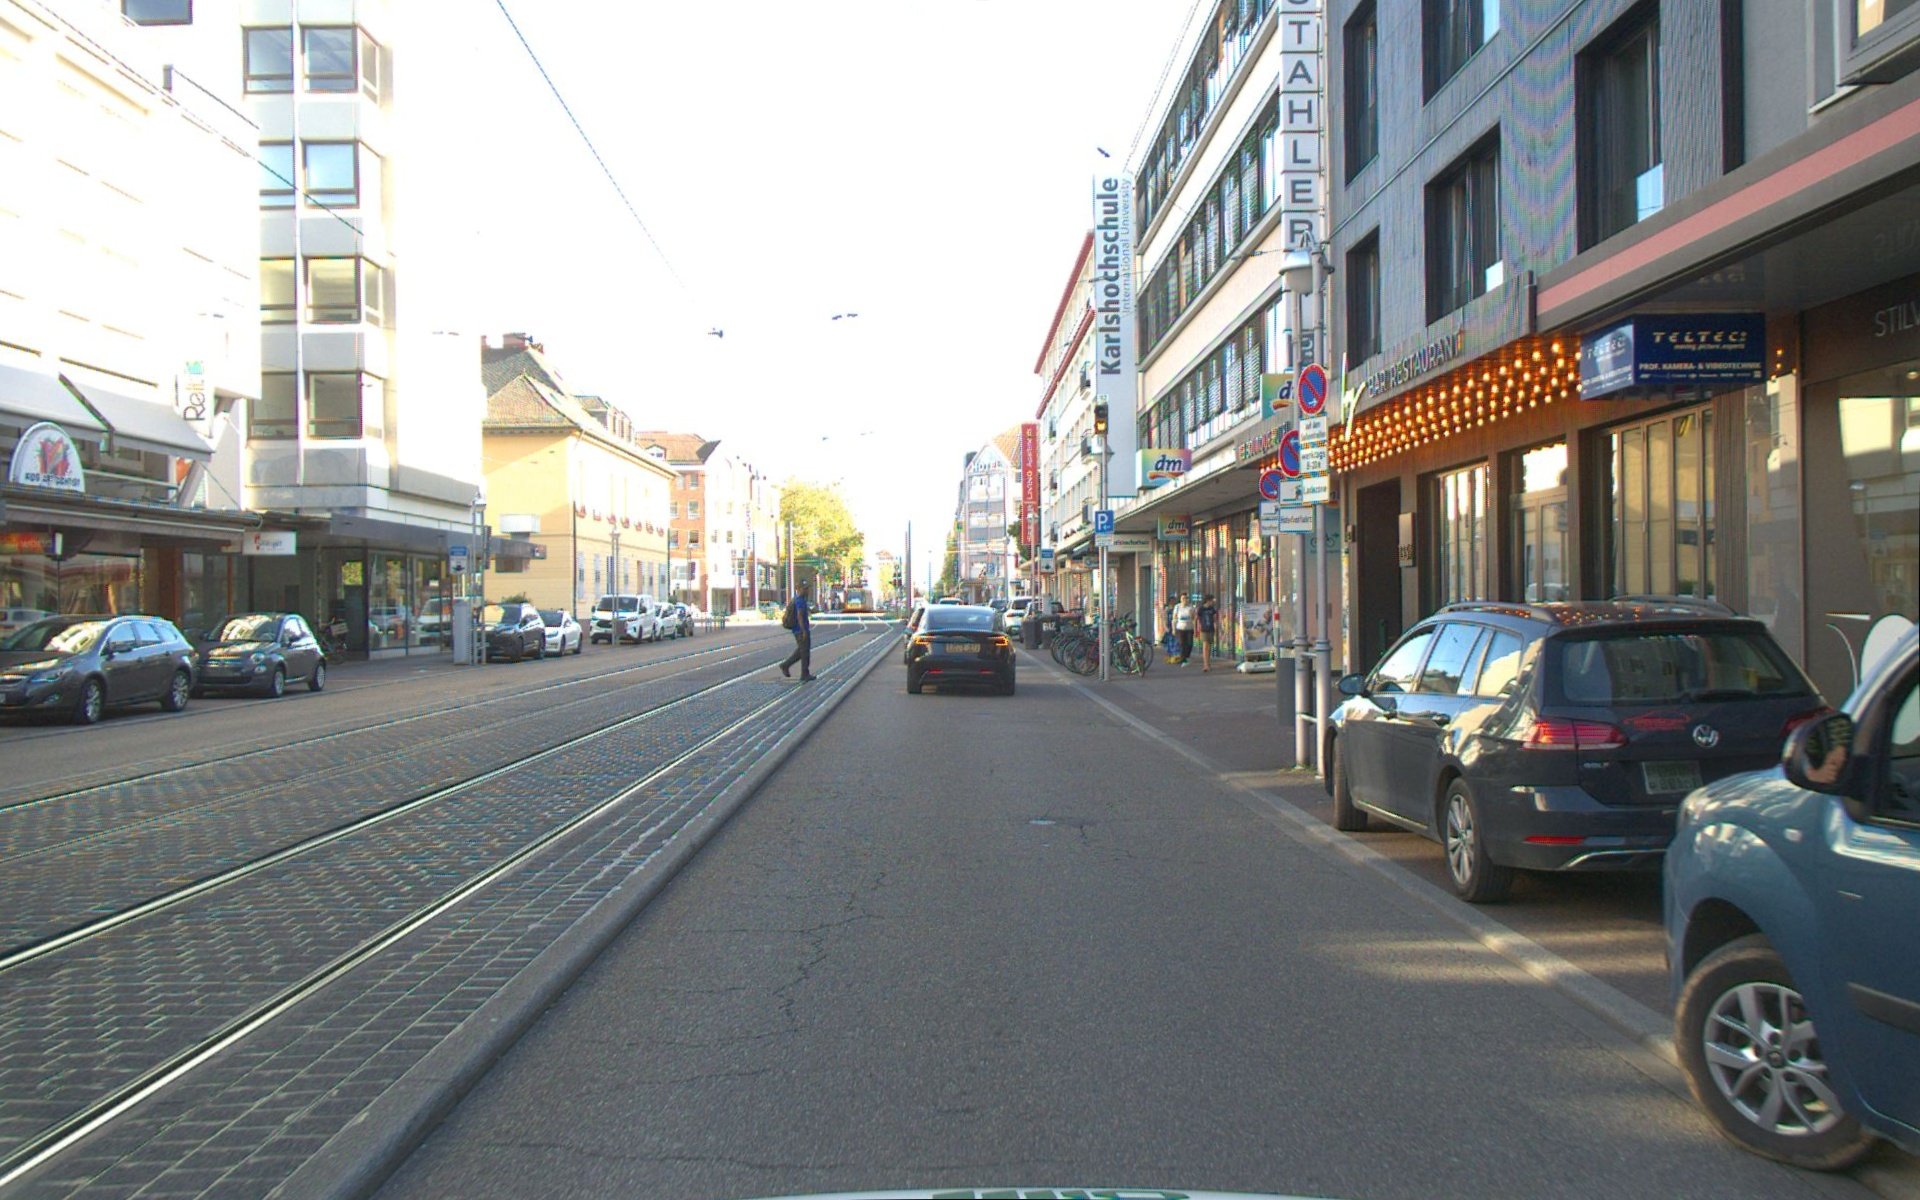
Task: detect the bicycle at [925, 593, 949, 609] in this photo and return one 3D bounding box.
[{"bbox_3d":[-1.695,0.073,120.936,1.696,1.107,0.677,1,-1,-9],"label":"bicycle"}]

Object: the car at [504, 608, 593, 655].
[{"bbox_3d":[-13.416,1.002,54.194,1.850,1.446,4.654,1,0,-2],"label":"car"}]

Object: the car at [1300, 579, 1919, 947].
[{"bbox_3d":[3.294,0.716,9.404,1.687,1.510,4.415,-3,0,-1],"label":"car"}]

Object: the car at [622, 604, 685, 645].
[{"bbox_3d":[-13.588,1.072,73.495,1.770,1.715,4.649,1,0,2],"label":"car"}]

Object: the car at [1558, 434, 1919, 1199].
[{"bbox_3d":[3.100,0.543,3.396,1.780,1.892,4.546,-2,0,-4],"label":"car"}]

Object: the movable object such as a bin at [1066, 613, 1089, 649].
[{"bbox_3d":[3.706,0.979,52.371,0.676,1.108,0.666,-2,0,2],"label":"movable object such as a bin"}]

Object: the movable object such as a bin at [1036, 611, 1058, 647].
[{"bbox_3d":[2.751,0.930,52.446,0.676,1.108,0.686,-2,0,2],"label":"movable object such as a bin"}]

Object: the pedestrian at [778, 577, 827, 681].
[{"bbox_3d":[-2.930,0.534,30.831,0.788,1.869,0.746,-2,0,-2],"label":"pedestrian"}]

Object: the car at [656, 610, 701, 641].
[{"bbox_3d":[-13.373,1.190,78.704,1.581,1.425,3.719,1,0,-1],"label":"car"}]

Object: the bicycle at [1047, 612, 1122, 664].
[{"bbox_3d":[3.038,0.920,40.399,1.751,1.179,0.669,-2,0,-2],"label":"bicycle"}]

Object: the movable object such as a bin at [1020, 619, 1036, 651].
[{"bbox_3d":[2.164,1.112,52.530,0.477,0.975,0.458,-2,-1,2],"label":"movable object such as a bin"}]

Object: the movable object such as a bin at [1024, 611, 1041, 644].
[{"bbox_3d":[2.349,0.896,53.900,0.511,1.032,0.671,-2,0,2],"label":"movable object such as a bin"}]

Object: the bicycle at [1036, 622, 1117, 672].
[{"bbox_3d":[2.604,1.043,37.156,1.737,1.050,0.596,-2,0,-2],"label":"bicycle"}]

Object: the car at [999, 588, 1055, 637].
[{"bbox_3d":[2.574,0.483,64.459,1.812,1.754,5.191,-3,0,-1],"label":"car"}]

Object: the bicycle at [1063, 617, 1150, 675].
[{"bbox_3d":[3.080,0.961,34.855,1.739,1.150,0.478,-2,0,-7],"label":"bicycle"}]

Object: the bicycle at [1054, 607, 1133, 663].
[{"bbox_3d":[3.094,0.815,38.539,1.751,1.238,0.587,-2,0,-2],"label":"bicycle"}]

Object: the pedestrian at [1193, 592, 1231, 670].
[{"bbox_3d":[5.087,0.622,33.393,0.571,1.519,0.524,-3,0,-9],"label":"pedestrian"}]

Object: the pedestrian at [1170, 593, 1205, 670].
[{"bbox_3d":[4.896,0.671,35.585,0.570,1.613,0.597,-3,0,-3],"label":"pedestrian"}]

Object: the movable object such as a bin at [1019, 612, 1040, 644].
[{"bbox_3d":[2.235,0.898,53.232,0.672,1.032,0.508,-2,0,2],"label":"movable object such as a bin"}]

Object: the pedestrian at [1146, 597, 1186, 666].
[{"bbox_3d":[4.601,0.705,36.969,0.576,1.512,0.591,-3,0,-32],"label":"pedestrian"}]

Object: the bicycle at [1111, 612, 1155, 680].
[{"bbox_3d":[3.414,0.890,32.782,0.570,1.279,1.601,-3,0,-2],"label":"bicycle"}]

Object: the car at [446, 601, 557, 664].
[{"bbox_3d":[-13.318,0.907,48.323,1.938,1.708,4.654,1,0,0],"label":"car"}]

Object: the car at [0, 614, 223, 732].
[{"bbox_3d":[-13.063,1.015,24.957,1.701,1.550,4.851,1,0,0],"label":"car"}]

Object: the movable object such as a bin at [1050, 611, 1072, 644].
[{"bbox_3d":[3.244,0.867,53.094,0.644,1.032,0.636,-2,0,2],"label":"movable object such as a bin"}]

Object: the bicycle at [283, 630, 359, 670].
[{"bbox_3d":[-17.251,1.348,44.668,1.896,1.016,0.380,1,-1,0],"label":"bicycle"}]

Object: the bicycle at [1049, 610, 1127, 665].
[{"bbox_3d":[3.040,0.884,39.364,1.751,1.238,0.669,-2,0,-2],"label":"bicycle"}]

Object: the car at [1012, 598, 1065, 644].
[{"bbox_3d":[2.802,0.737,59.509,1.581,1.555,4.069,-2,0,-1],"label":"car"}]

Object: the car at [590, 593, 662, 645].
[{"bbox_3d":[-13.551,0.761,67.288,1.953,2.010,5.095,1,0,-1],"label":"car"}]

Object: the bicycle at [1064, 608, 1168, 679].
[{"bbox_3d":[3.207,0.884,34.066,2.000,1.296,0.523,-4,0,-11],"label":"bicycle"}]

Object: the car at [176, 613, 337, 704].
[{"bbox_3d":[-12.970,1.038,30.702,1.569,1.550,3.587,1,0,-3],"label":"car"}]

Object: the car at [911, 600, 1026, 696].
[{"bbox_3d":[0.088,0.772,28.137,1.811,1.510,3.786,1,0,-2],"label":"car"}]

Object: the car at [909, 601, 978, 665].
[{"bbox_3d":[-0.392,0.785,41.140,1.619,1.443,4.000,1,1,0],"label":"car"}]

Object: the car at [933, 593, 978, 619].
[{"bbox_3d":[-0.299,0.340,102.401,1.754,1.545,4.200,1,0,-16],"label":"car"}]

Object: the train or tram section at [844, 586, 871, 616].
[{"bbox_3d":[-13.126,0.149,212.394,2.619,3.780,14.191,1,0,0],"label":"train or tram section"}]

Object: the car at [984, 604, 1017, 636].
[{"bbox_3d":[2.243,1.090,92.238,1.709,1.660,3.648,-2,0,0],"label":"car"}]

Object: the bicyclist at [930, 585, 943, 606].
[{"bbox_3d":[-1.705,-0.352,120.934,0.820,1.526,0.559,1,-1,-9],"label":"bicyclist"}]
